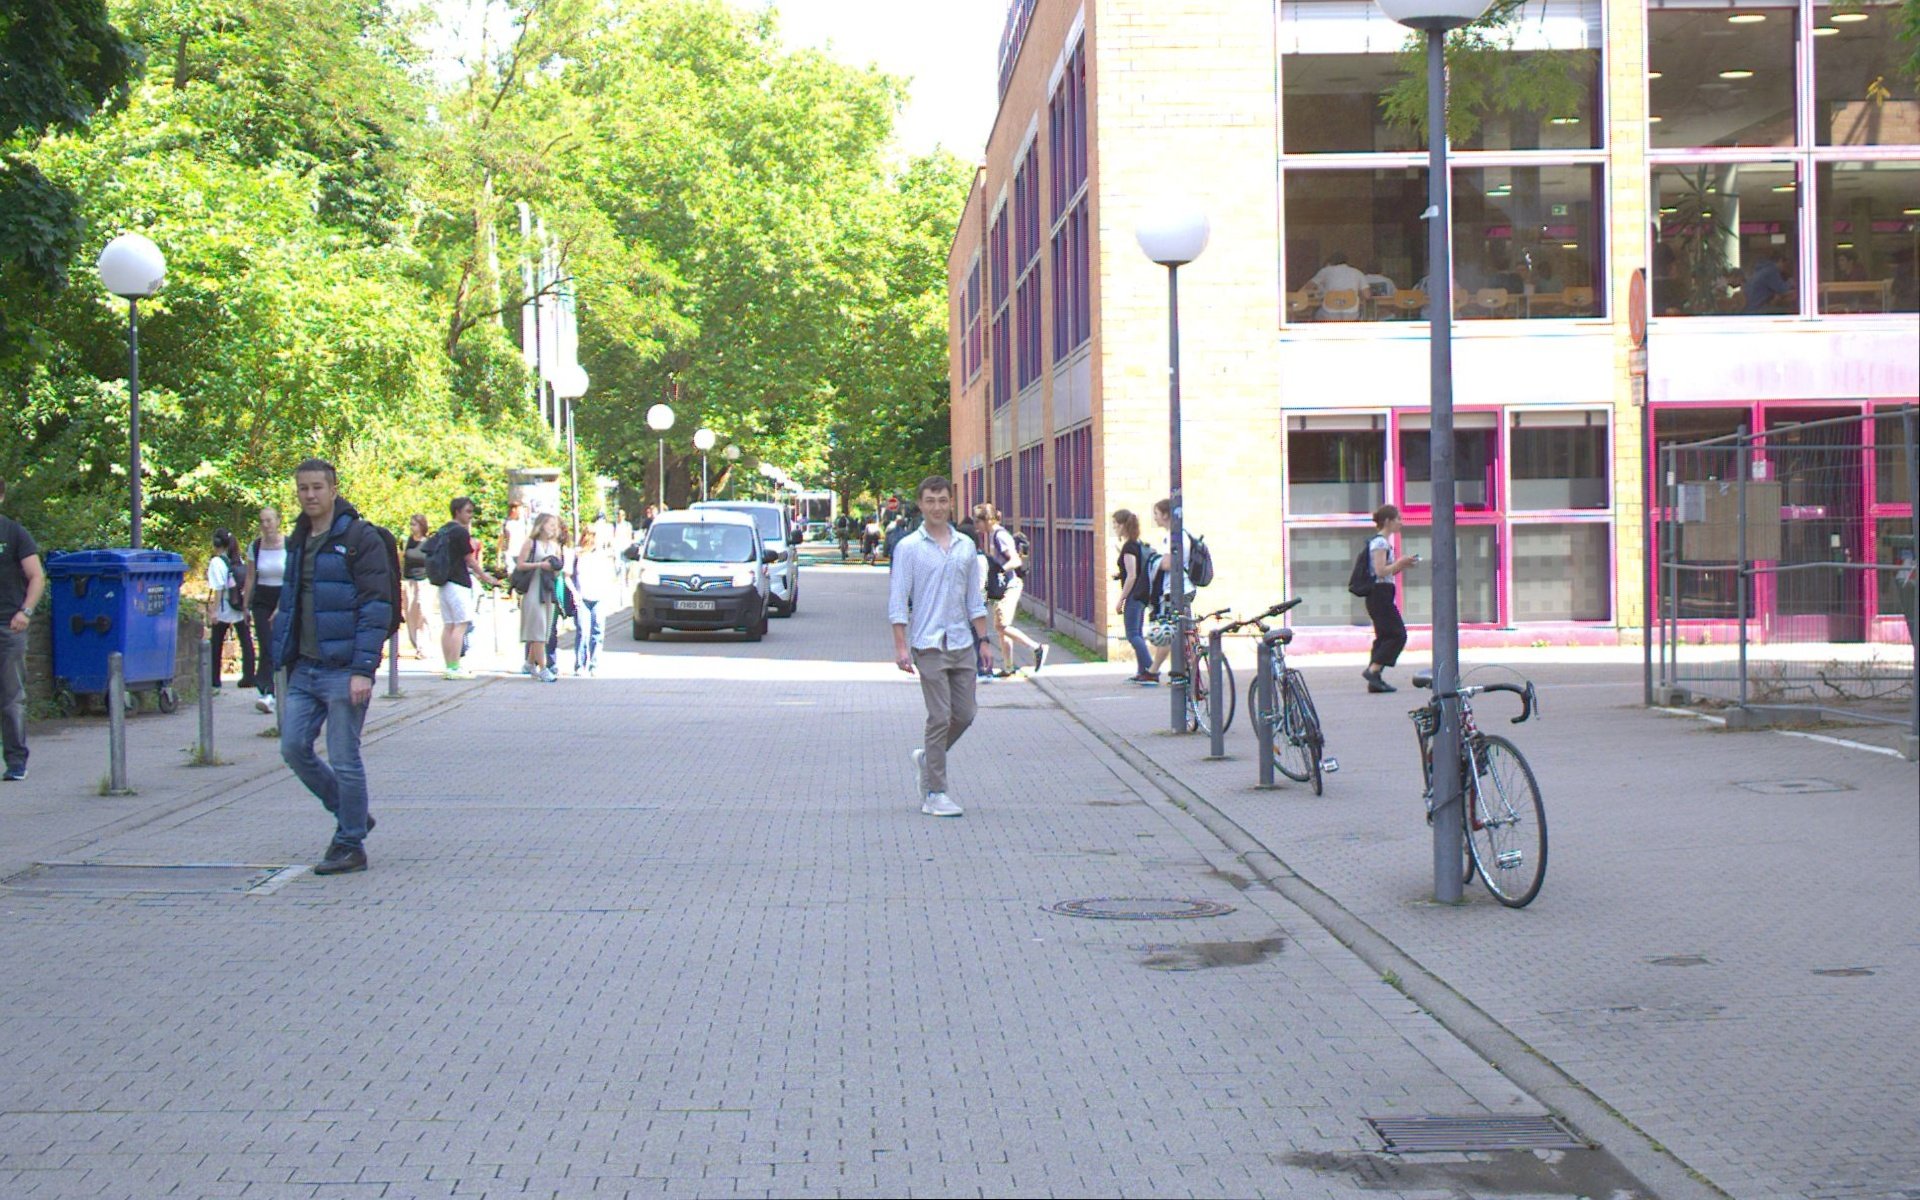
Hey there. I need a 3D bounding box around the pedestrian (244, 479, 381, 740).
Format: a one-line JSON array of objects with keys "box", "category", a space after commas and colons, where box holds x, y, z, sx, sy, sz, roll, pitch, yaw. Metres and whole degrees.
[{"box": [-4.744, 0.062, 25.247, 0.724, 1.875, 1.082, 0, 0, 4], "category": "pedestrian"}]

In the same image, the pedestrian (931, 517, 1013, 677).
[{"box": [0.122, -0.037, 35.193, 0.780, 1.615, 0.685, 0, 0, -4], "category": "pedestrian"}]

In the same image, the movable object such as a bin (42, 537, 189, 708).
[{"box": [-6.904, 0.169, 28.152, 0.709, 1.332, 1.239, 3, 1, 8], "category": "movable object such as a bin"}]

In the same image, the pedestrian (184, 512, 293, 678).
[{"box": [-7.079, -0.058, 33.712, 0.917, 1.605, 0.569, 1, 0, 35], "category": "pedestrian"}]

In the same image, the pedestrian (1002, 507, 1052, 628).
[{"box": [0.974, -0.469, 50.067, 0.682, 1.741, 0.783, 0, 0, -1], "category": "pedestrian"}]

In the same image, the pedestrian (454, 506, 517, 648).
[{"box": [-5.474, -0.270, 39.708, 0.682, 1.615, 0.914, 0, 0, -6], "category": "pedestrian"}]

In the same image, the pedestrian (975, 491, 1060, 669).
[{"box": [0.597, -0.208, 36.028, 0.825, 1.838, 0.685, 0, 0, -4], "category": "pedestrian"}]

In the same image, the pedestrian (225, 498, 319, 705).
[{"box": [-5.811, 0.005, 29.075, 0.682, 1.722, 1.002, 0, 1, -5], "category": "pedestrian"}]

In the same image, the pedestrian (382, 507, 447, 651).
[{"box": [-6.239, -0.242, 39.358, 0.682, 1.615, 0.979, 0, 0, -6], "category": "pedestrian"}]

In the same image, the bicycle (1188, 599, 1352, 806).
[{"box": [1.747, 0.558, 19.621, 0.708, 1.089, 1.749, 0, 1, -2], "category": "bicycle"}]

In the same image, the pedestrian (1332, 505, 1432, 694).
[{"box": [3.724, -0.005, 30.392, 0.852, 1.645, 0.588, 1, 0, 6], "category": "pedestrian"}]

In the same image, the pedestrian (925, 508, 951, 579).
[{"box": [-0.521, -1.332, 81.302, 0.586, 1.667, 0.817, -1, 0, 0], "category": "pedestrian"}]

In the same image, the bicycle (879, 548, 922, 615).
[{"box": [-0.991, -0.313, 56.834, 0.587, 1.080, 1.908, 0, 1, -5], "category": "bicycle"}]

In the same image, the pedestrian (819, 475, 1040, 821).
[{"box": [-0.180, 0.242, 18.900, 0.783, 1.839, 1.118, 0, 1, -26], "category": "pedestrian"}]

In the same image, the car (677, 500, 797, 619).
[{"box": [-3.786, -0.736, 59.075, 1.883, 1.967, 5.215, 0, 2, -2], "category": "car"}]

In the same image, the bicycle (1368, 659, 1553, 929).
[{"box": [1.993, 0.747, 13.849, 0.395, 0.932, 1.732, -2, 1, -2], "category": "bicycle"}]

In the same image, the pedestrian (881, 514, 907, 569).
[{"box": [-2.034, -1.806, 106.087, 0.725, 1.667, 0.748, -1, 0, 0], "category": "pedestrian"}]

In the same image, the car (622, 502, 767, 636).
[{"box": [-3.654, -0.472, 47.930, 1.790, 1.755, 4.482, -1, 2, -2], "category": "car"}]

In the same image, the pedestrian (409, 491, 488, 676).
[{"box": [-5.141, -0.169, 34.585, 0.682, 1.838, 0.783, 0, 0, -1], "category": "pedestrian"}]

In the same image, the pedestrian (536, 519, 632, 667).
[{"box": [-3.957, -0.077, 36.218, 0.886, 1.537, 0.743, 0, 1, 4], "category": "pedestrian"}]

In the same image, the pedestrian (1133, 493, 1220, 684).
[{"box": [2.070, -0.110, 32.858, 0.767, 1.788, 0.588, -1, 0, 6], "category": "pedestrian"}]

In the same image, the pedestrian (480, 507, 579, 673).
[{"box": [-4.378, -0.107, 35.012, 0.886, 1.667, 0.559, 1, 0, 6], "category": "pedestrian"}]

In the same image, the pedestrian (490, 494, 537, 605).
[{"box": [-7.442, -0.837, 57.357, 0.682, 1.838, 0.783, 0, 0, -1], "category": "pedestrian"}]

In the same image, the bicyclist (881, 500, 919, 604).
[{"box": [-0.993, -0.794, 56.829, 0.587, 1.710, 0.665, 0, 1, -5], "category": "bicyclist"}]

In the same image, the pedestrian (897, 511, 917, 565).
[{"box": [-1.885, -2.190, 121.805, 0.653, 1.915, 0.817, -1, 0, 0], "category": "pedestrian"}]

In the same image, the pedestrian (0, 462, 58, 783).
[{"box": [-5.834, 0.123, 20.551, 0.682, 1.866, 1.121, 0, 0, -6], "category": "pedestrian"}]

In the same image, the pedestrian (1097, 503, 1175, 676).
[{"box": [1.722, -0.104, 33.592, 0.697, 1.667, 0.588, -1, 0, 6], "category": "pedestrian"}]

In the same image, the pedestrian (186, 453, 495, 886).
[{"box": [-2.762, 0.282, 15.389, 0.887, 1.851, 1.031, 2, 1, 29], "category": "pedestrian"}]

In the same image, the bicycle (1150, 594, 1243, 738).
[{"box": [1.718, 0.464, 25.158, 0.450, 0.958, 1.740, -3, 1, -2], "category": "bicycle"}]

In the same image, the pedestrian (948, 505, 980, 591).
[{"box": [0.071, -1.009, 67.183, 0.586, 1.667, 0.699, -1, 0, 0], "category": "pedestrian"}]
